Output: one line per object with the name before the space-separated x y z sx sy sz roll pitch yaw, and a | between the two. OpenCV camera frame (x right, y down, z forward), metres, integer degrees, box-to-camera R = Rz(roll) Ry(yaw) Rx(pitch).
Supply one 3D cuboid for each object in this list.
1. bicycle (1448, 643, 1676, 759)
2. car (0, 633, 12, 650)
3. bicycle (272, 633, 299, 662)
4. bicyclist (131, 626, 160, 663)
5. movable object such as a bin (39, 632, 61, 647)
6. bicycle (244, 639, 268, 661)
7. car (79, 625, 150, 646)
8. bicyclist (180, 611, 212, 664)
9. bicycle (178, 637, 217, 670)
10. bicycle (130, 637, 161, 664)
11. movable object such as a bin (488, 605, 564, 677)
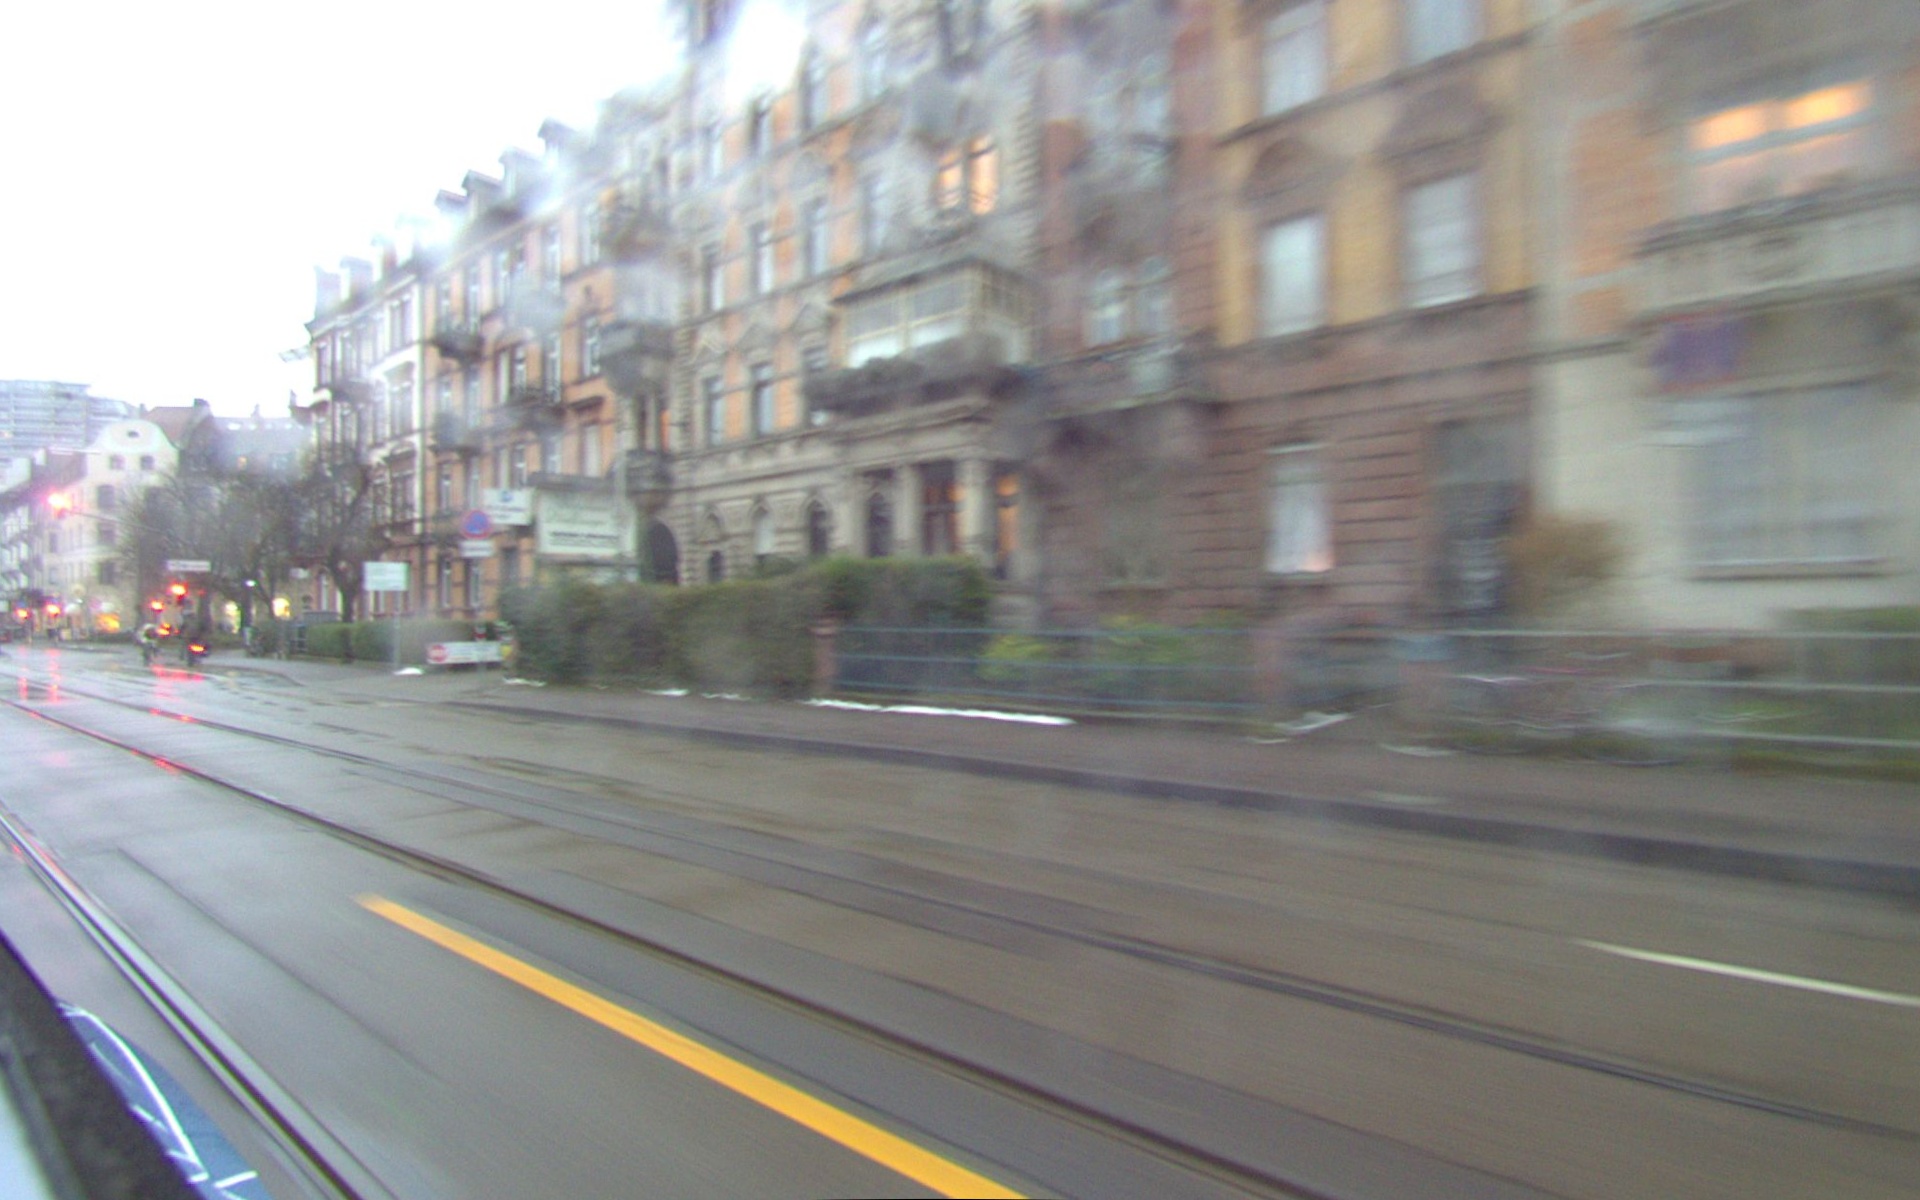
bicycle | 5.291 0.857 8.973 1.684 0.922 0.260 -2 4 41
car | -89.930 3.932 94.198 3.670 1.527 1.658 -2 1 35
bicycle | -25.153 1.764 37.734 1.849 1.014 0.412 -2 -1 42
bicyclist | -31.573 1.708 39.215 0.944 1.374 0.697 -1 1 42
movable object such as a bin | -87.256 3.790 97.077 1.280 1.382 1.336 -2 1 40
bicycle | -28.609 2.020 41.111 1.849 0.869 0.395 -2 -1 42
car | -68.436 2.877 82.040 4.272 1.595 1.942 0 -1 -36
bicyclist | -24.420 1.188 32.333 0.765 1.628 0.676 -2 -1 42
bicycle | -24.309 1.692 32.252 1.933 0.979 0.671 -2 -1 42
bicycle | -31.607 1.958 39.254 1.802 1.014 0.674 -2 -1 42
movable object such as a bin | -10.212 0.947 23.809 1.229 1.598 1.308 -1 -1 -44
